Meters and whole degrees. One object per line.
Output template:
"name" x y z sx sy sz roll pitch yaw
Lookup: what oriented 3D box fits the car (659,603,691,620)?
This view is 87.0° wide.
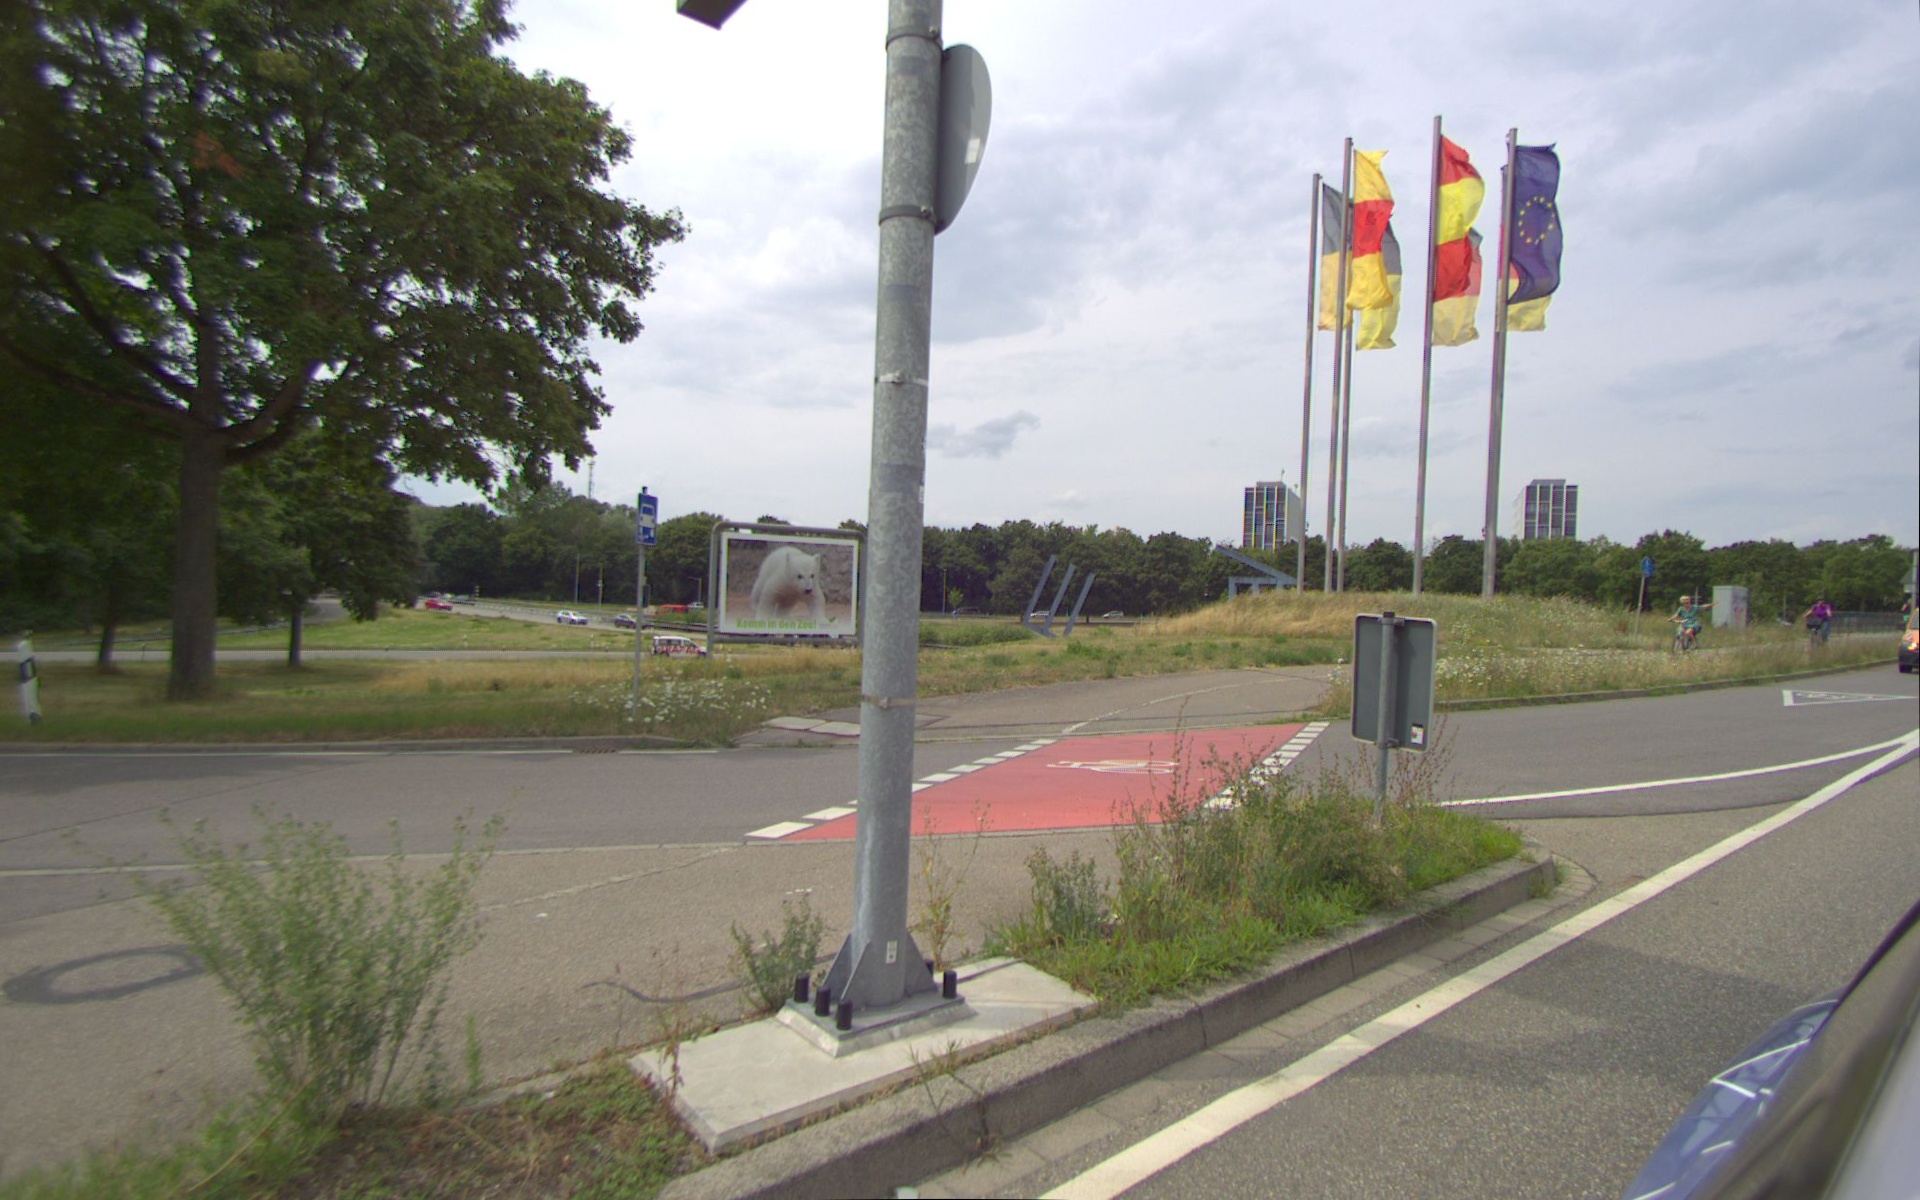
"car" -36.314 1.506 128.997 3.975 2.039 1.854 2 0 36

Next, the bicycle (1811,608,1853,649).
"bicycle" 27.573 0.893 31.981 2.418 1.207 0.695 1 1 -42

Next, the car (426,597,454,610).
"car" -80.840 0.605 157.377 3.960 2.039 1.981 -1 -1 27

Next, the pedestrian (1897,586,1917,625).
"pedestrian" 50.275 0.301 53.727 0.656 2.038 0.629 2 2 -40

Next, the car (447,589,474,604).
"car" -73.040 -0.507 147.928 3.975 2.039 1.854 2 0 36

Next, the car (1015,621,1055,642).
"car" 8.113 3.375 109.531 3.981 2.039 1.851 2 0 39

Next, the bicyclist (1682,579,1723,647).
"bicyclist" 18.969 0.332 25.859 0.657 1.686 0.623 2 2 -42

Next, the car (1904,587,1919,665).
"car" 24.995 0.668 25.114 4.353 1.859 1.891 2 -1 -42

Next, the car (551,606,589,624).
"car" -44.979 1.676 116.808 3.962 2.039 1.980 -1 -1 28

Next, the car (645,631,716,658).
"car" -22.320 3.558 80.838 5.140 2.039 2.004 2 0 -23

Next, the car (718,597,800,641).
"car" -19.485 1.795 98.032 7.452 3.946 3.307 2 0 32

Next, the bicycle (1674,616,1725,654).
"bicycle" 18.876 0.869 25.810 2.117 0.899 0.624 0 1 -42

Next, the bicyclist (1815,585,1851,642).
"bicyclist" 27.671 0.424 32.064 0.974 1.777 0.704 2 0 -42
